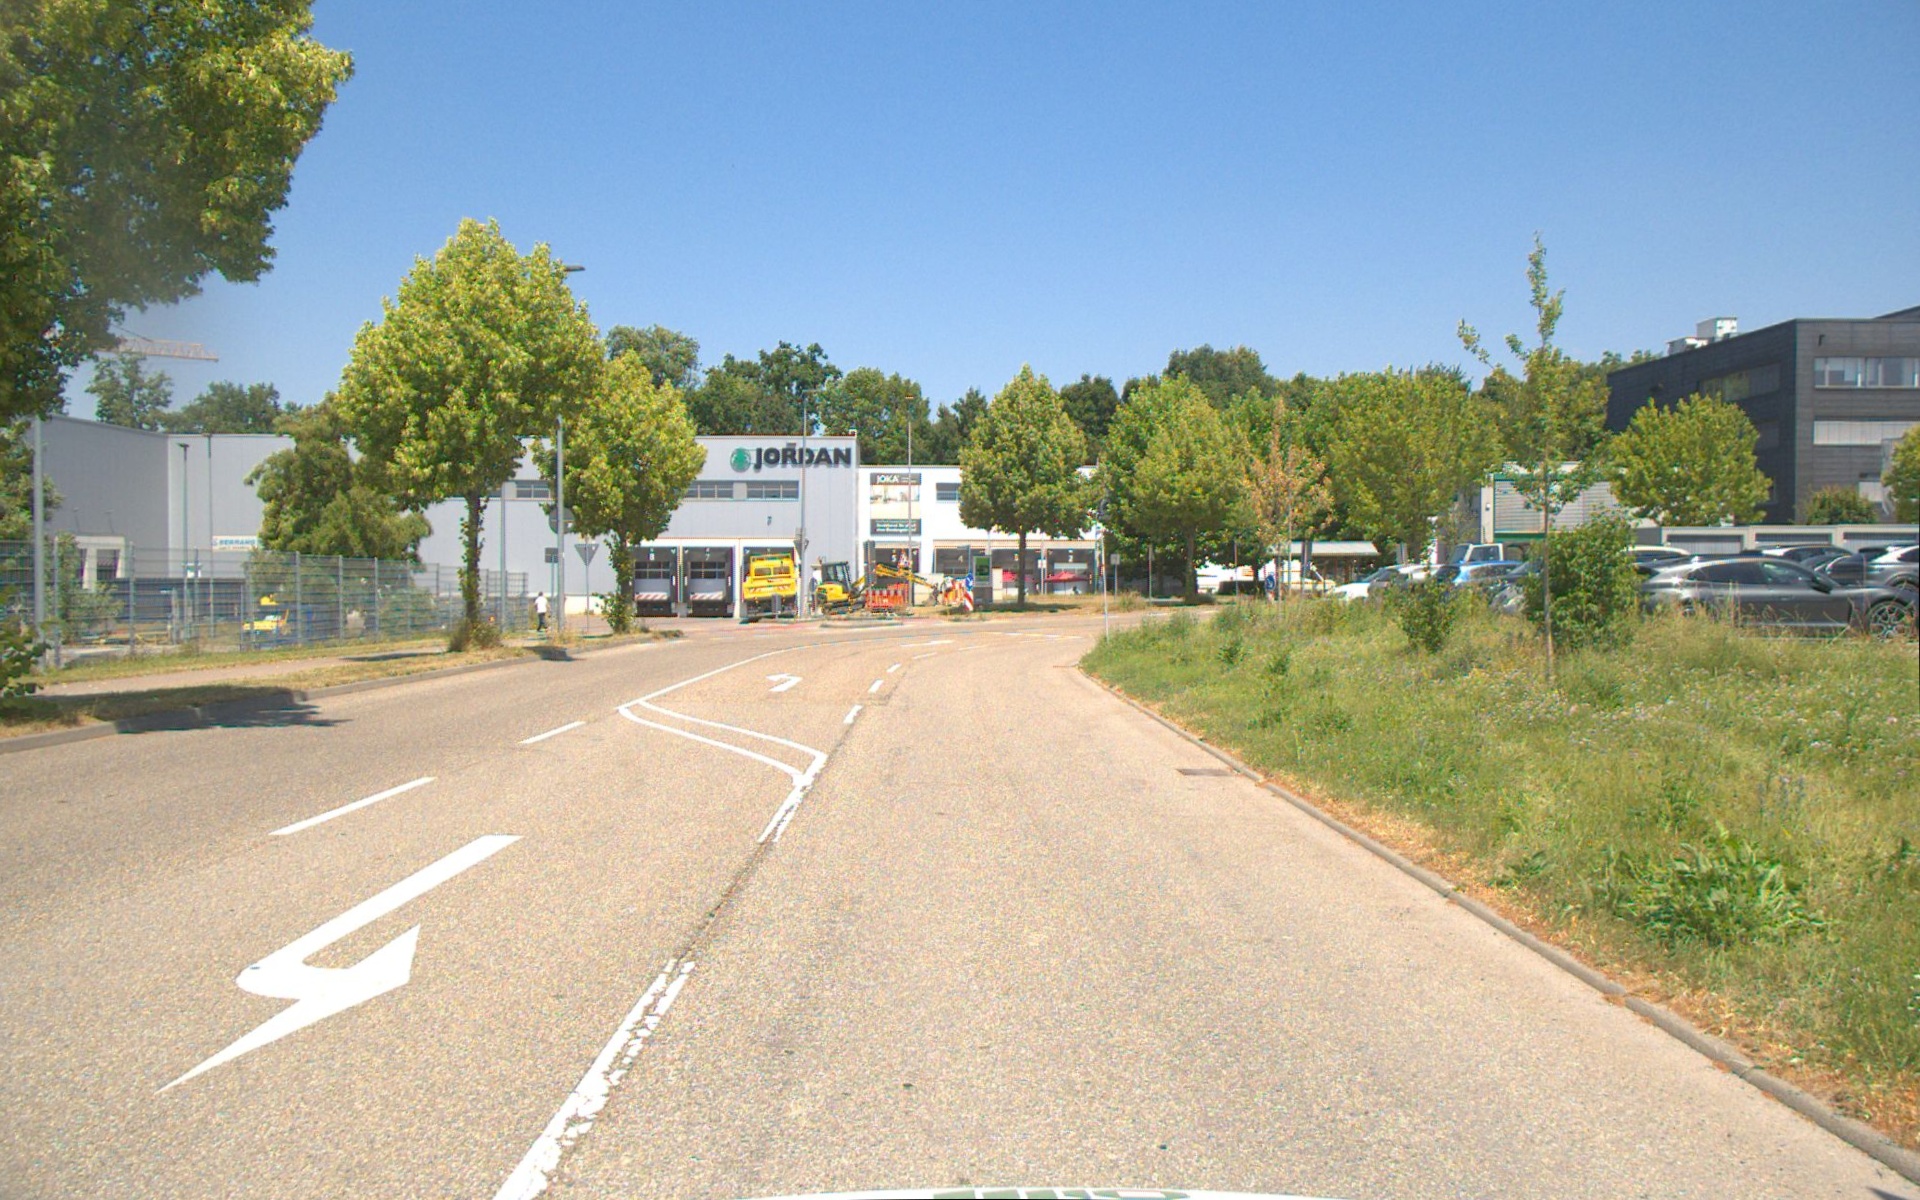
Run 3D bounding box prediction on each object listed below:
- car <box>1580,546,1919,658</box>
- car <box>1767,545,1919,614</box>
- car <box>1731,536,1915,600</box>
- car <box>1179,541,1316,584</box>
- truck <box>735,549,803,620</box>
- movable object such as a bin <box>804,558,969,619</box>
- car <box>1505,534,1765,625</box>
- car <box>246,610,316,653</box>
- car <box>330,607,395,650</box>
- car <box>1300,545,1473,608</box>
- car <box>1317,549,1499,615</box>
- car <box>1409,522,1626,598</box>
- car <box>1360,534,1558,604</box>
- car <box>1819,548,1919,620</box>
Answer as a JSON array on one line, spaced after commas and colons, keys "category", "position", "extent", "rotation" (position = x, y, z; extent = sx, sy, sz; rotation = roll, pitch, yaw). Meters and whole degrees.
[{"category": "car", "position": [11.967, -0.001, 24.855], "extent": [4.607, 1.424, 1.923], "rotation": [-2, 4, 1]}, {"category": "car", "position": [21.795, -0.512, 39.835], "extent": [3.909, 1.424, 1.768], "rotation": [-2, 4, -5]}, {"category": "car", "position": [22.376, -0.851, 42.955], "extent": [3.909, 1.424, 1.768], "rotation": [-2, 4, -5]}, {"category": "car", "position": [15.343, -1.988, 88.539], "extent": [7.023, 2.124, 2.001], "rotation": [-1, 0, 2]}, {"category": "truck", "position": [-9.209, -0.806, 79.232], "extent": [2.885, 2.935, 5.799], "rotation": [-2, 4, -9]}, {"category": "movable object such as a bin", "position": [-3.454, -0.587, 79.712], "extent": [7.366, 2.542, 3.671], "rotation": [-1, 4, 7]}, {"category": "car", "position": [12.363, -0.400, 30.410], "extent": [4.081, 1.424, 1.768], "rotation": [-2, 4, -5]}, {"category": "car", "position": [-31.289, 1.439, 76.357], "extent": [1.956, 1.578, 3.995], "rotation": [-2, 4, -8]}, {"category": "car", "position": [-27.808, 1.281, 77.052], "extent": [1.956, 1.578, 3.995], "rotation": [-2, 4, -8]}, {"category": "car", "position": [11.208, -0.647, 43.626], "extent": [4.081, 1.424, 1.768], "rotation": [-2, 4, -5]}, {"category": "car", "position": [11.243, -0.474, 41.641], "extent": [4.081, 1.424, 1.768], "rotation": [-2, 4, -5]}, {"category": "car", "position": [11.985, -0.891, 35.700], "extent": [4.081, 1.424, 1.768], "rotation": [-2, 4, -5]}, {"category": "car", "position": [11.644, -0.751, 38.707], "extent": [4.081, 1.424, 1.768], "rotation": [-2, 4, -5]}, {"category": "car", "position": [21.724, -0.409, 37.221], "extent": [3.909, 1.424, 1.768], "rotation": [-2, 4, -5]}]
